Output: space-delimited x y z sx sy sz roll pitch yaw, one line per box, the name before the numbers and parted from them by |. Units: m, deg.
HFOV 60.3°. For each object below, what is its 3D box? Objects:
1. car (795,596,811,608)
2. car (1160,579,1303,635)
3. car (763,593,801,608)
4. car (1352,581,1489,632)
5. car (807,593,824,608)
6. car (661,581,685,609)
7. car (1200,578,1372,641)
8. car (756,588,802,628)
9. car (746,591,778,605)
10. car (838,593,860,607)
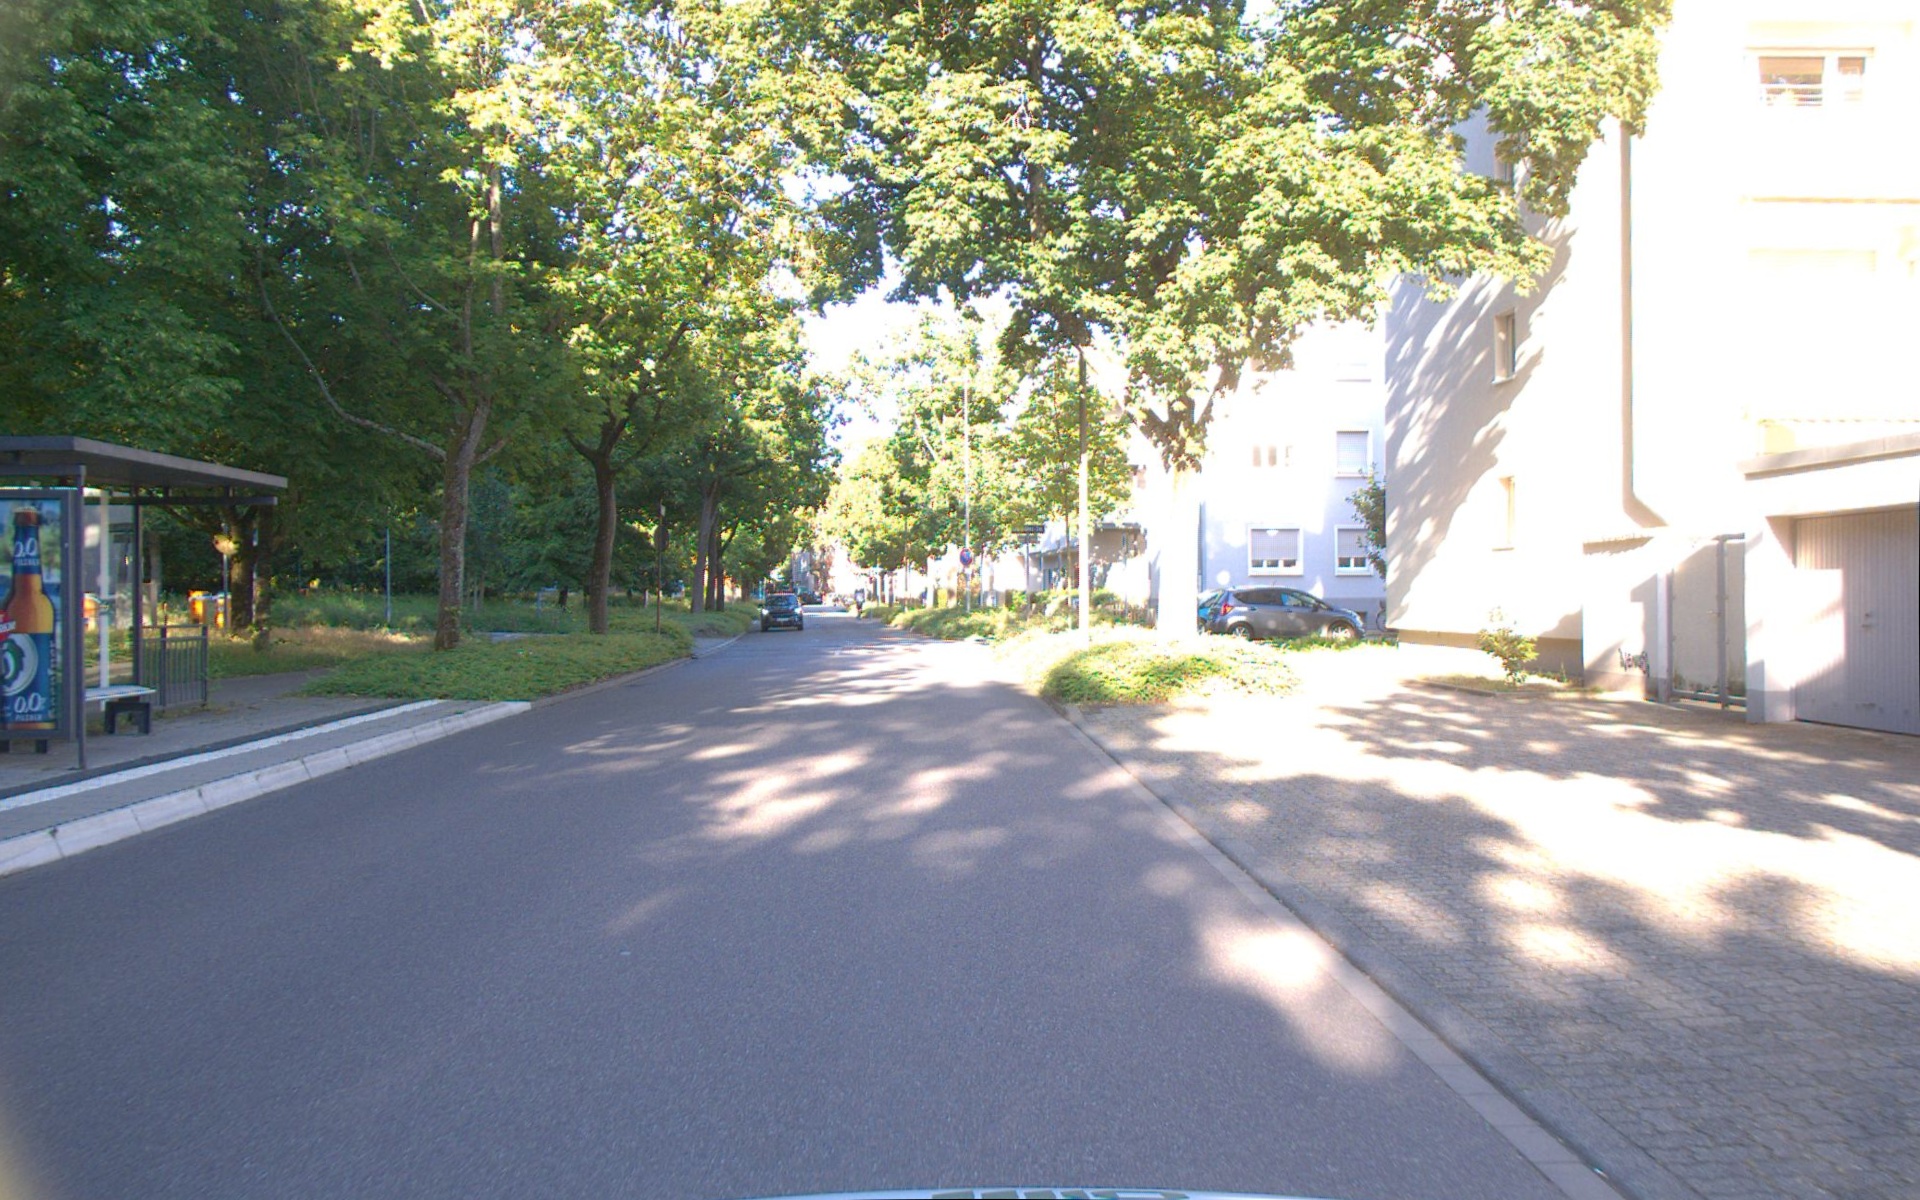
car | -21.366 0.293 224.971 1.778 1.527 3.991 1 0 -10
car | 8.128 0.189 49.729 3.911 1.609 1.807 0 1 -7
car | -19.297 0.084 179.605 3.919 1.527 1.810 1 0 -14
car | 14.154 0.209 50.918 3.749 1.524 1.647 0 0 -4
car | -18.421 0.071 210.685 1.778 1.959 3.991 1 0 -10
car | -27.283 -0.445 157.165 1.960 2.552 3.984 1 0 -15
car | 8.256 0.254 42.047 3.962 1.541 1.725 1 -1 -6
car | -7.812 0.322 71.676 1.808 1.606 4.331 -2 0 -5
car | -22.968 -0.264 191.784 3.527 1.537 1.495 1 0 -14
car | -12.236 0.006 182.445 1.780 1.527 3.986 -1 0 -13
